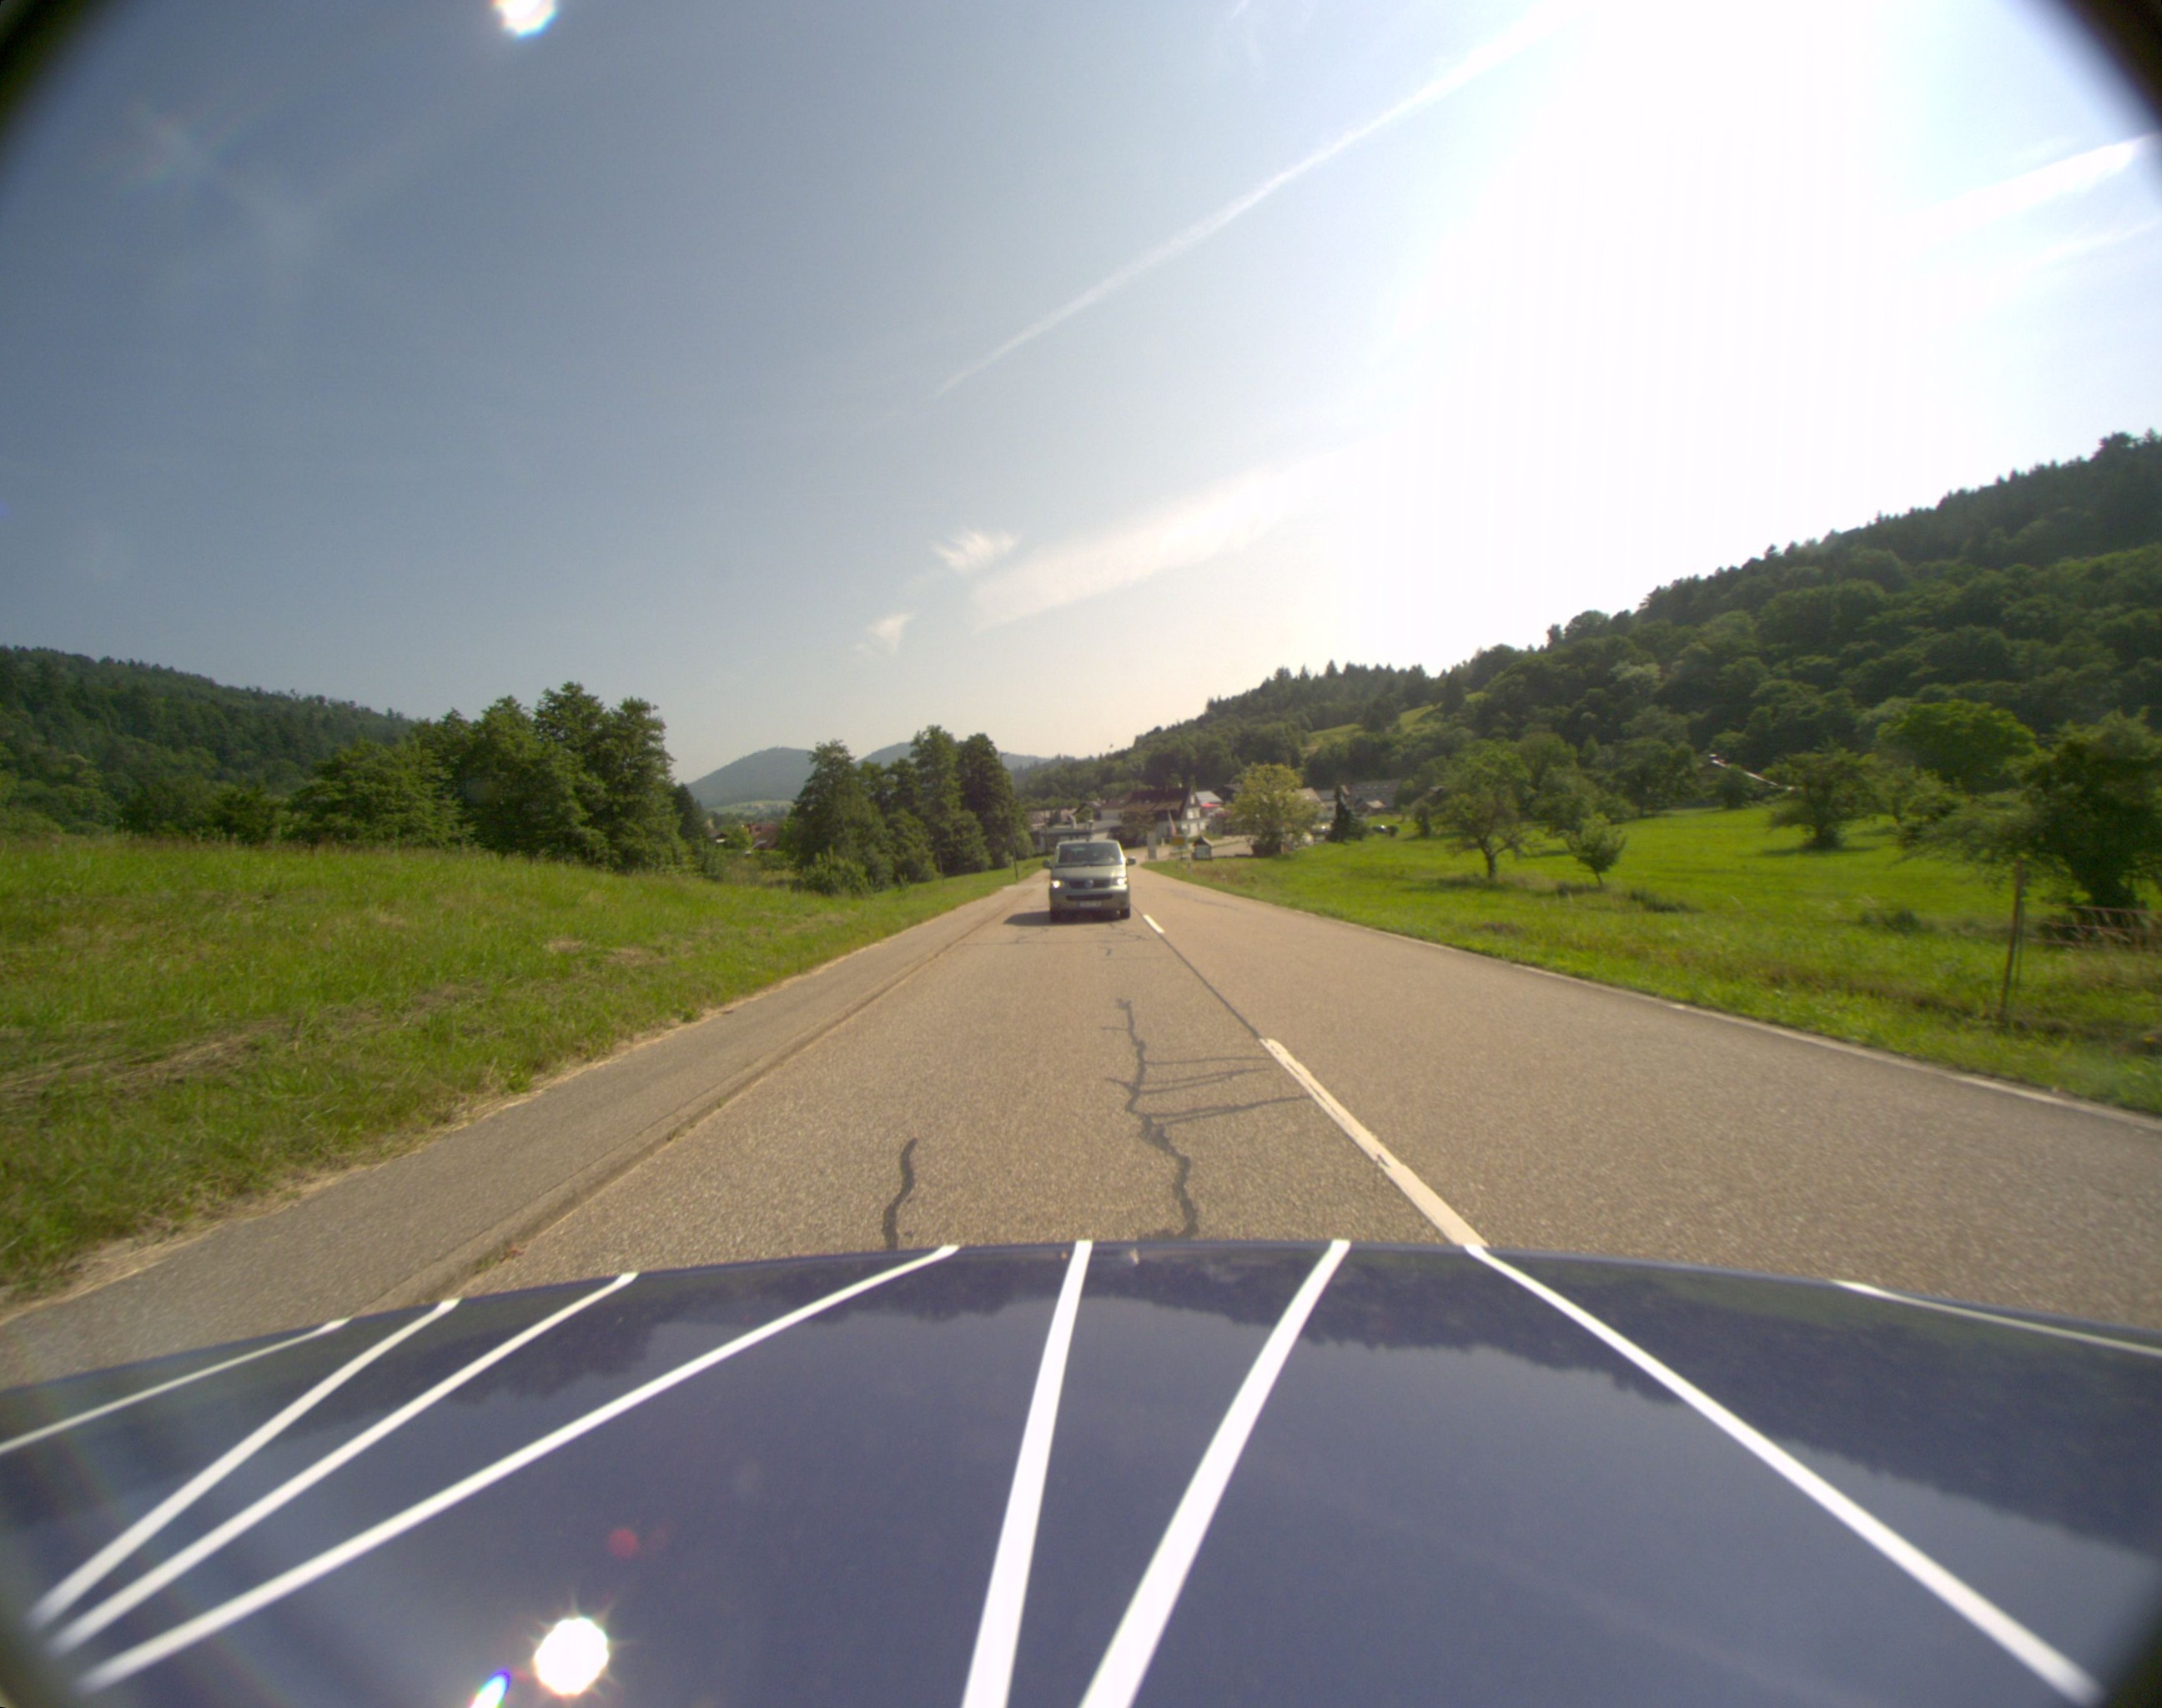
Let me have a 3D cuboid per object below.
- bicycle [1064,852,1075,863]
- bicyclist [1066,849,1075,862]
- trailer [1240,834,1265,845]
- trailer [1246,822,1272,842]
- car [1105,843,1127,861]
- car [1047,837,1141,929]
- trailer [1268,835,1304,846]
[{"bbox_3d":[-1.166,0.334,77.949,0.580,1.029,1.992,1,4,16],"label":"bicycle"},{"bbox_3d":[-1.105,0.145,78.143,0.580,1.335,1.146,1,4,16],"label":"bicyclist"},{"bbox_3d":[25.178,-2.104,111.313,1.995,1.220,5.553,-3,3,30],"label":"trailer"},{"bbox_3d":[27.459,-3.414,117.282,3.394,2.896,1.886,-3,3,27],"label":"trailer"},{"bbox_3d":[4.154,-0.269,89.584,1.765,1.737,3.981,-4,4,14],"label":"car"},{"bbox_3d":[0.286,0.615,19.262,2.024,1.970,5.048,-1,1,0],"label":"car"},{"bbox_3d":[26.326,-1.734,97.558,3.935,0.934,1.870,-3,4,32],"label":"trailer"}]
